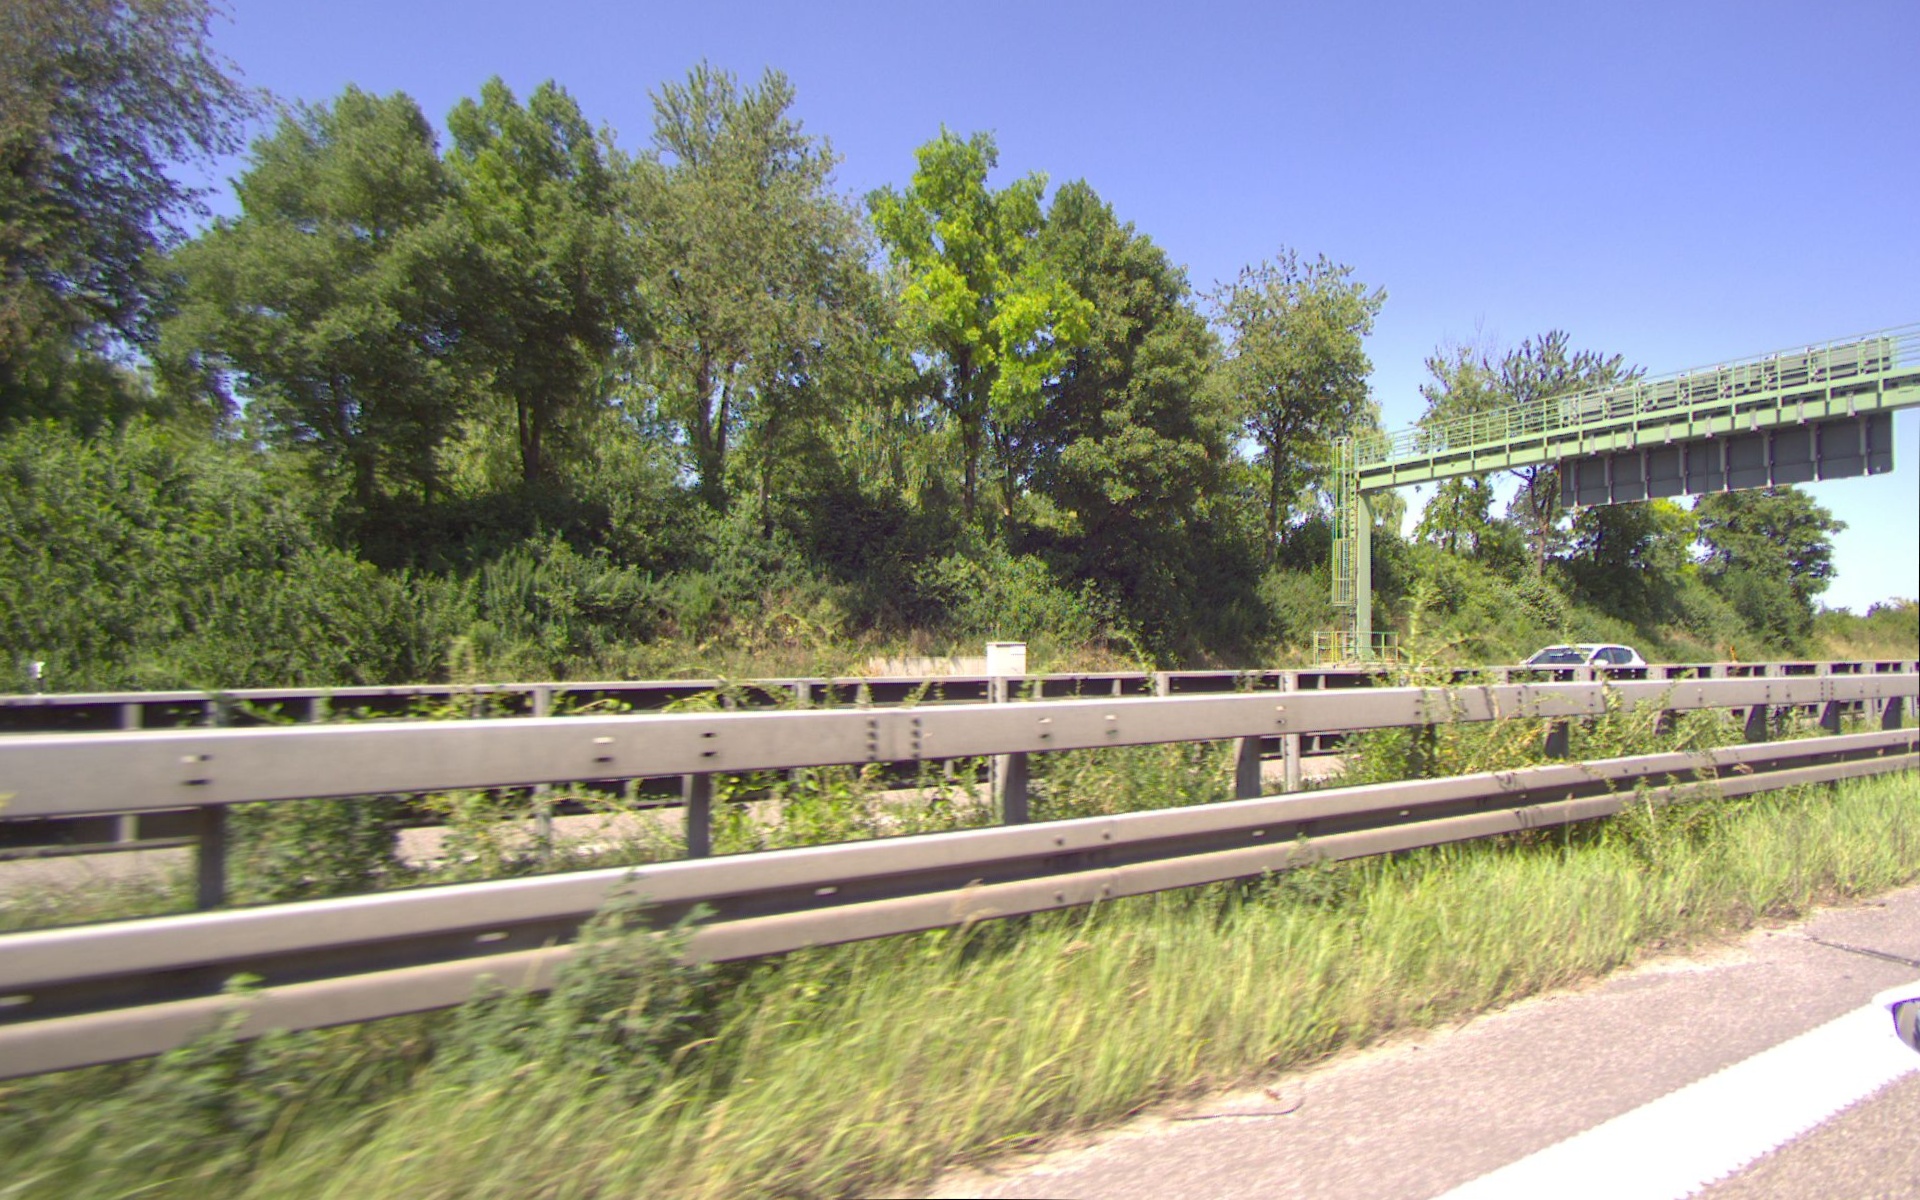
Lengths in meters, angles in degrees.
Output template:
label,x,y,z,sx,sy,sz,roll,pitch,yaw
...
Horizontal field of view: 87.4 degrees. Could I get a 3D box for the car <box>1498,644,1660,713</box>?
label,x,y,z,sx,sy,sz,roll,pitch,yaw
car,14.390,1.781,23.306,3.839,1.483,1.657,2,-4,-32
